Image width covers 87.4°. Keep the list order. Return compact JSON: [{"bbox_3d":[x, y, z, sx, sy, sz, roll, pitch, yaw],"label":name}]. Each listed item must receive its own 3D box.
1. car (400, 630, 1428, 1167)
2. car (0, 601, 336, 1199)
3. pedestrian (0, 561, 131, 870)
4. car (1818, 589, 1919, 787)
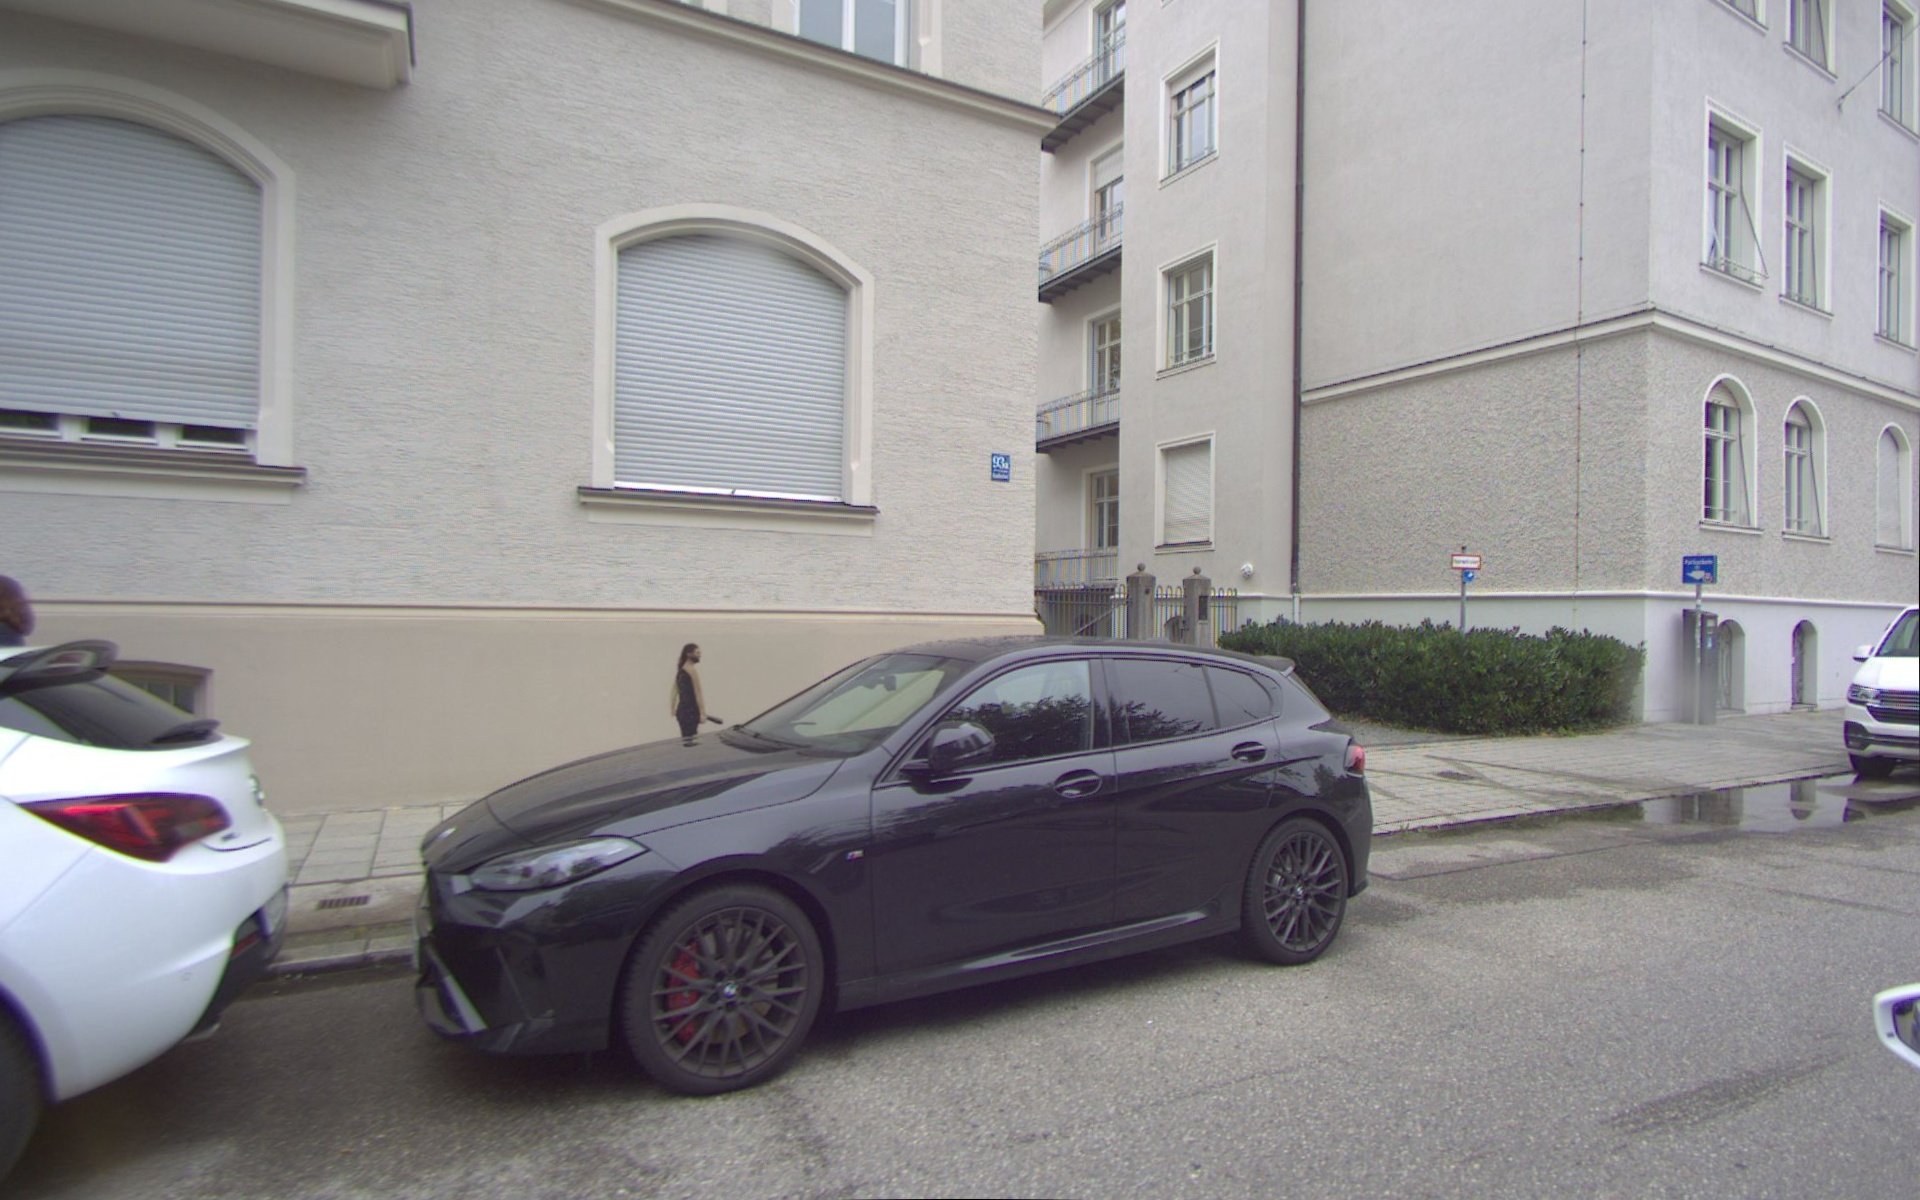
[{"bbox_3d":[-0.059,0.870,4.585,4.327,1.431,1.848,1,-2,-30],"label":"car"},{"bbox_3d":[-4.057,0.733,2.311,4.327,1.483,1.848,1,-2,-30],"label":"car"},{"bbox_3d":[-5.415,0.609,5.593,1.039,1.629,0.870,1,-1,-28],"label":"pedestrian"},{"bbox_3d":[11.693,0.922,11.114,4.899,1.964,1.847,1,-2,-30],"label":"car"}]
